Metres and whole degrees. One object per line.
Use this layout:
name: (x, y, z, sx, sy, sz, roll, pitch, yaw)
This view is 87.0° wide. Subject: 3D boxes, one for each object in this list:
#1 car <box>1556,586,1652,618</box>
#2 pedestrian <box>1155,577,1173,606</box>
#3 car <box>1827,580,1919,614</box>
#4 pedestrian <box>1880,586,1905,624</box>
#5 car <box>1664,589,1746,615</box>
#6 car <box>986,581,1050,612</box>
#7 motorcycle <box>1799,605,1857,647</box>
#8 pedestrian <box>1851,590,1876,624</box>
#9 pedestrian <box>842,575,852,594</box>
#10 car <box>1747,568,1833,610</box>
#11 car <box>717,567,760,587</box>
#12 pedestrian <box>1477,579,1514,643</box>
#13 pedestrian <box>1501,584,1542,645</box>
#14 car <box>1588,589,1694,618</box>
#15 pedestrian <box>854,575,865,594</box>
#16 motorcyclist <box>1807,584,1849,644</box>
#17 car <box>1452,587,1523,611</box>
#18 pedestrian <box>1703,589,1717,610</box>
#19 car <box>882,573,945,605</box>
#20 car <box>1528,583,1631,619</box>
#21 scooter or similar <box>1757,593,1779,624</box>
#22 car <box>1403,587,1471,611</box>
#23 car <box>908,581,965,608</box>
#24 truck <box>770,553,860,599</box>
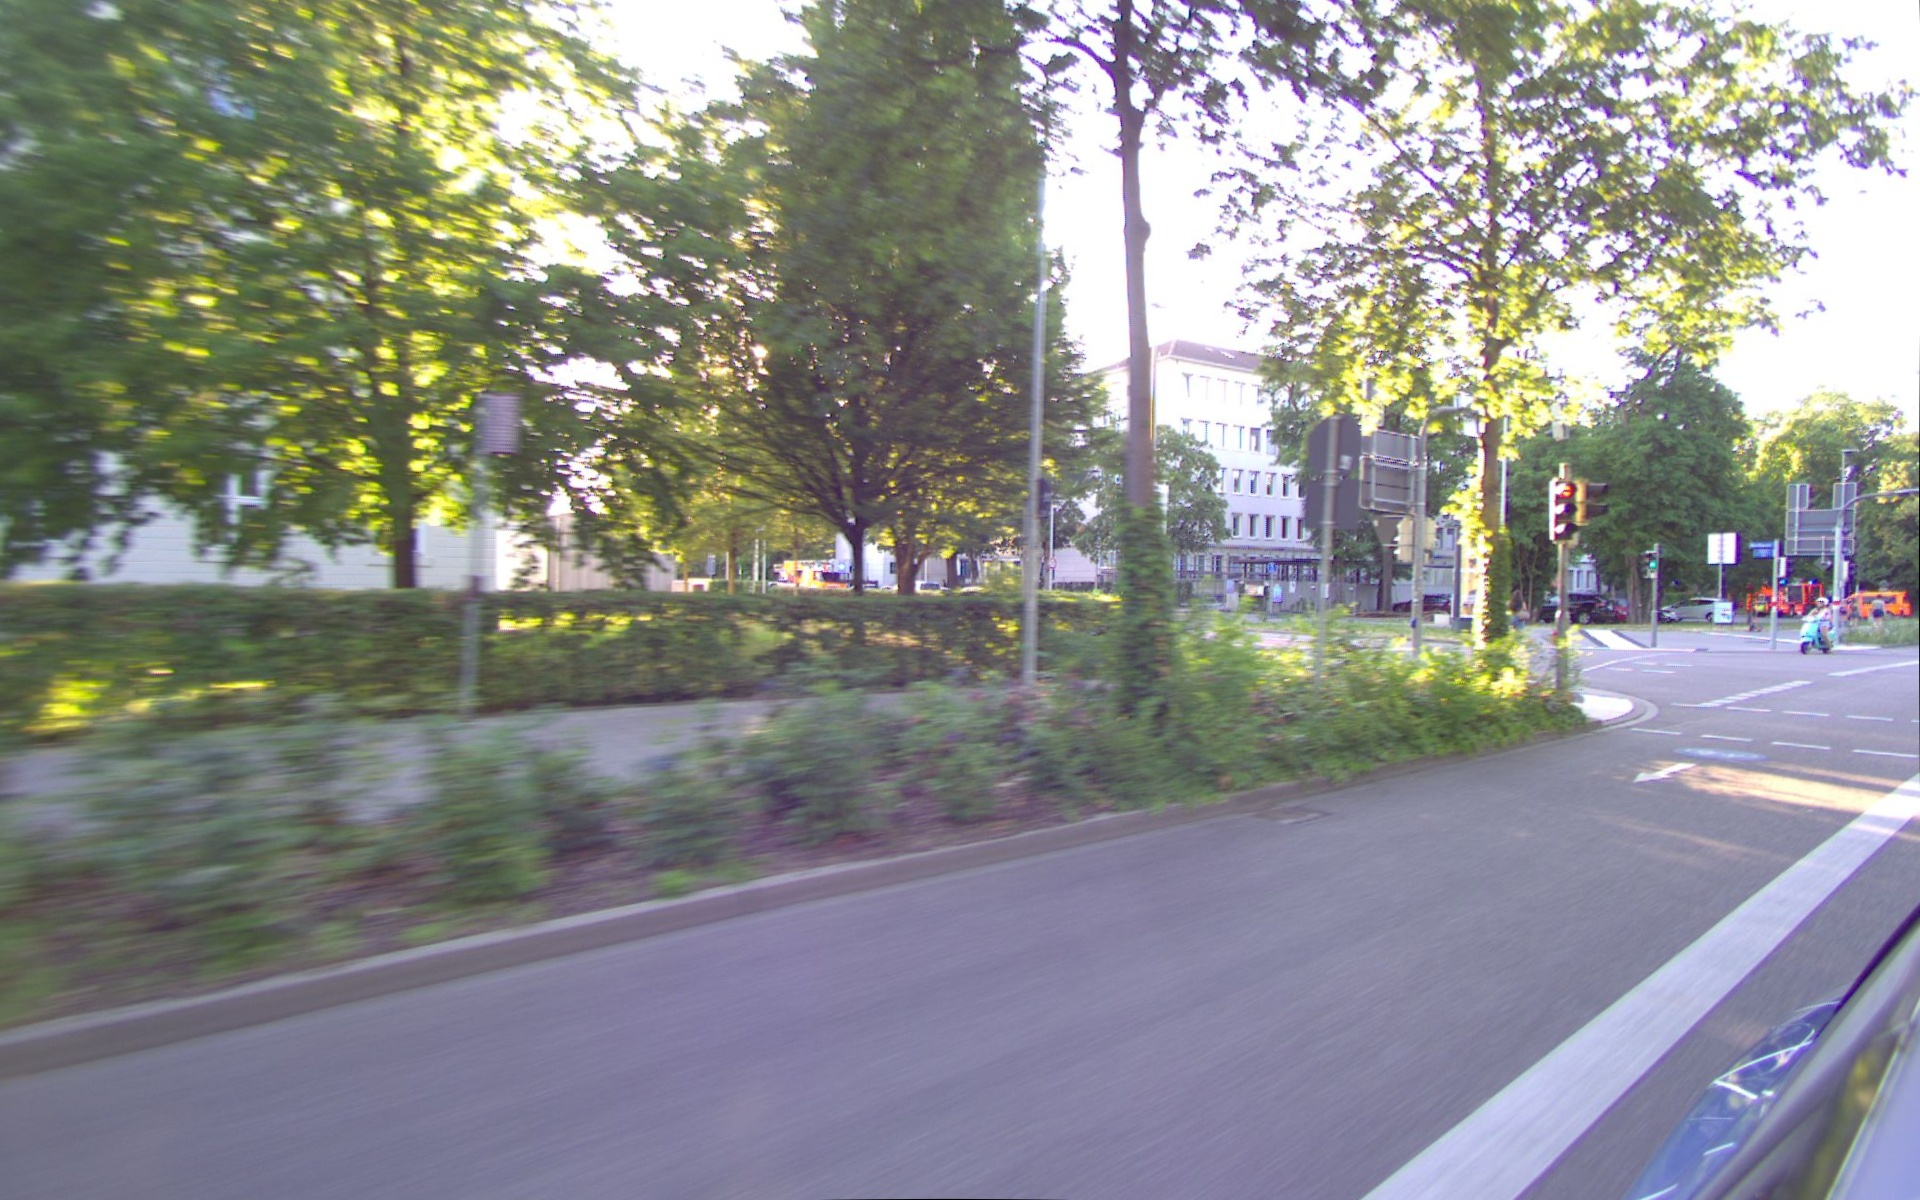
car: (34.964, 0.071, 55.058, 1.880, 1.631, 4.005, 0, 1, -30)
pedestrian: (12.535, -0.512, 62.144, 0.690, 1.760, 0.897, 0, 1, -28)
car: (69.362, -0.253, 76.729, 1.961, 2.422, 5.171, 0, 1, -34)
pedestrian: (41.532, 0.207, 45.082, 0.763, 1.681, 0.720, 0, 1, -42)
car: (45.310, 0.117, 61.626, 1.631, 1.477, 3.669, 0, 1, -32)
car: (3.317, -0.228, 58.494, 1.862, 1.660, 4.005, 0, 1, -29)
motorcycle: (25.956, 0.753, 30.260, 1.855, 1.213, 0.685, 0, 0, -28)
pedestrian: (41.071, 0.301, 45.986, 0.775, 1.542, 0.736, 0, 1, -41)
pedestrian: (-9.683, -1.332, 86.775, 0.674, 1.642, 0.684, 0, 1, -25)
car: (67.929, -0.901, 82.807, 8.132, 3.284, 2.776, 0, 1, -31)
car: (-22.802, -2.369, 104.325, 3.742, 1.804, 1.931, -5, 2, -37)
pedestrian: (15.071, 0.296, 28.480, 0.675, 1.776, 0.683, 1, 0, -37)
pedestrian: (15.446, 0.384, 27.848, 0.829, 1.643, 0.683, 1, 0, -37)
car: (37.777, 0.151, 56.261, 1.882, 1.482, 4.522, 0, 1, -34)
pedestrian: (-8.704, -1.365, 87.589, 0.674, 1.642, 0.684, 0, 1, -25)
motorcyclist: (25.960, 0.407, 30.268, 0.676, 1.759, 0.741, 1, 0, -28)
car: (35.966, -0.101, 69.100, 1.878, 1.540, 3.923, 0, 1, -28)
pedestrian: (65.018, -0.044, 87.721, 0.830, 1.865, 0.683, 1, 0, -35)
car: (-2.964, -0.641, 63.625, 2.016, 1.886, 4.497, 0, -1, -33)
car: (32.672, 0.007, 53.478, 1.881, 1.762, 4.243, 0, 1, -31)
scooter or similar: (34.047, 0.356, 42.635, 1.157, 1.287, 0.441, 0, 1, -38)
car: (31.270, -0.076, 66.426, 1.737, 1.477, 3.628, 0, 1, -35)
car: (-1.614, -0.395, 66.739, 1.961, 1.660, 4.003, 0, 1, -33)
truck: (-11.030, -1.804, 75.839, 2.590, 3.179, 10.280, 0, 1, -33)
